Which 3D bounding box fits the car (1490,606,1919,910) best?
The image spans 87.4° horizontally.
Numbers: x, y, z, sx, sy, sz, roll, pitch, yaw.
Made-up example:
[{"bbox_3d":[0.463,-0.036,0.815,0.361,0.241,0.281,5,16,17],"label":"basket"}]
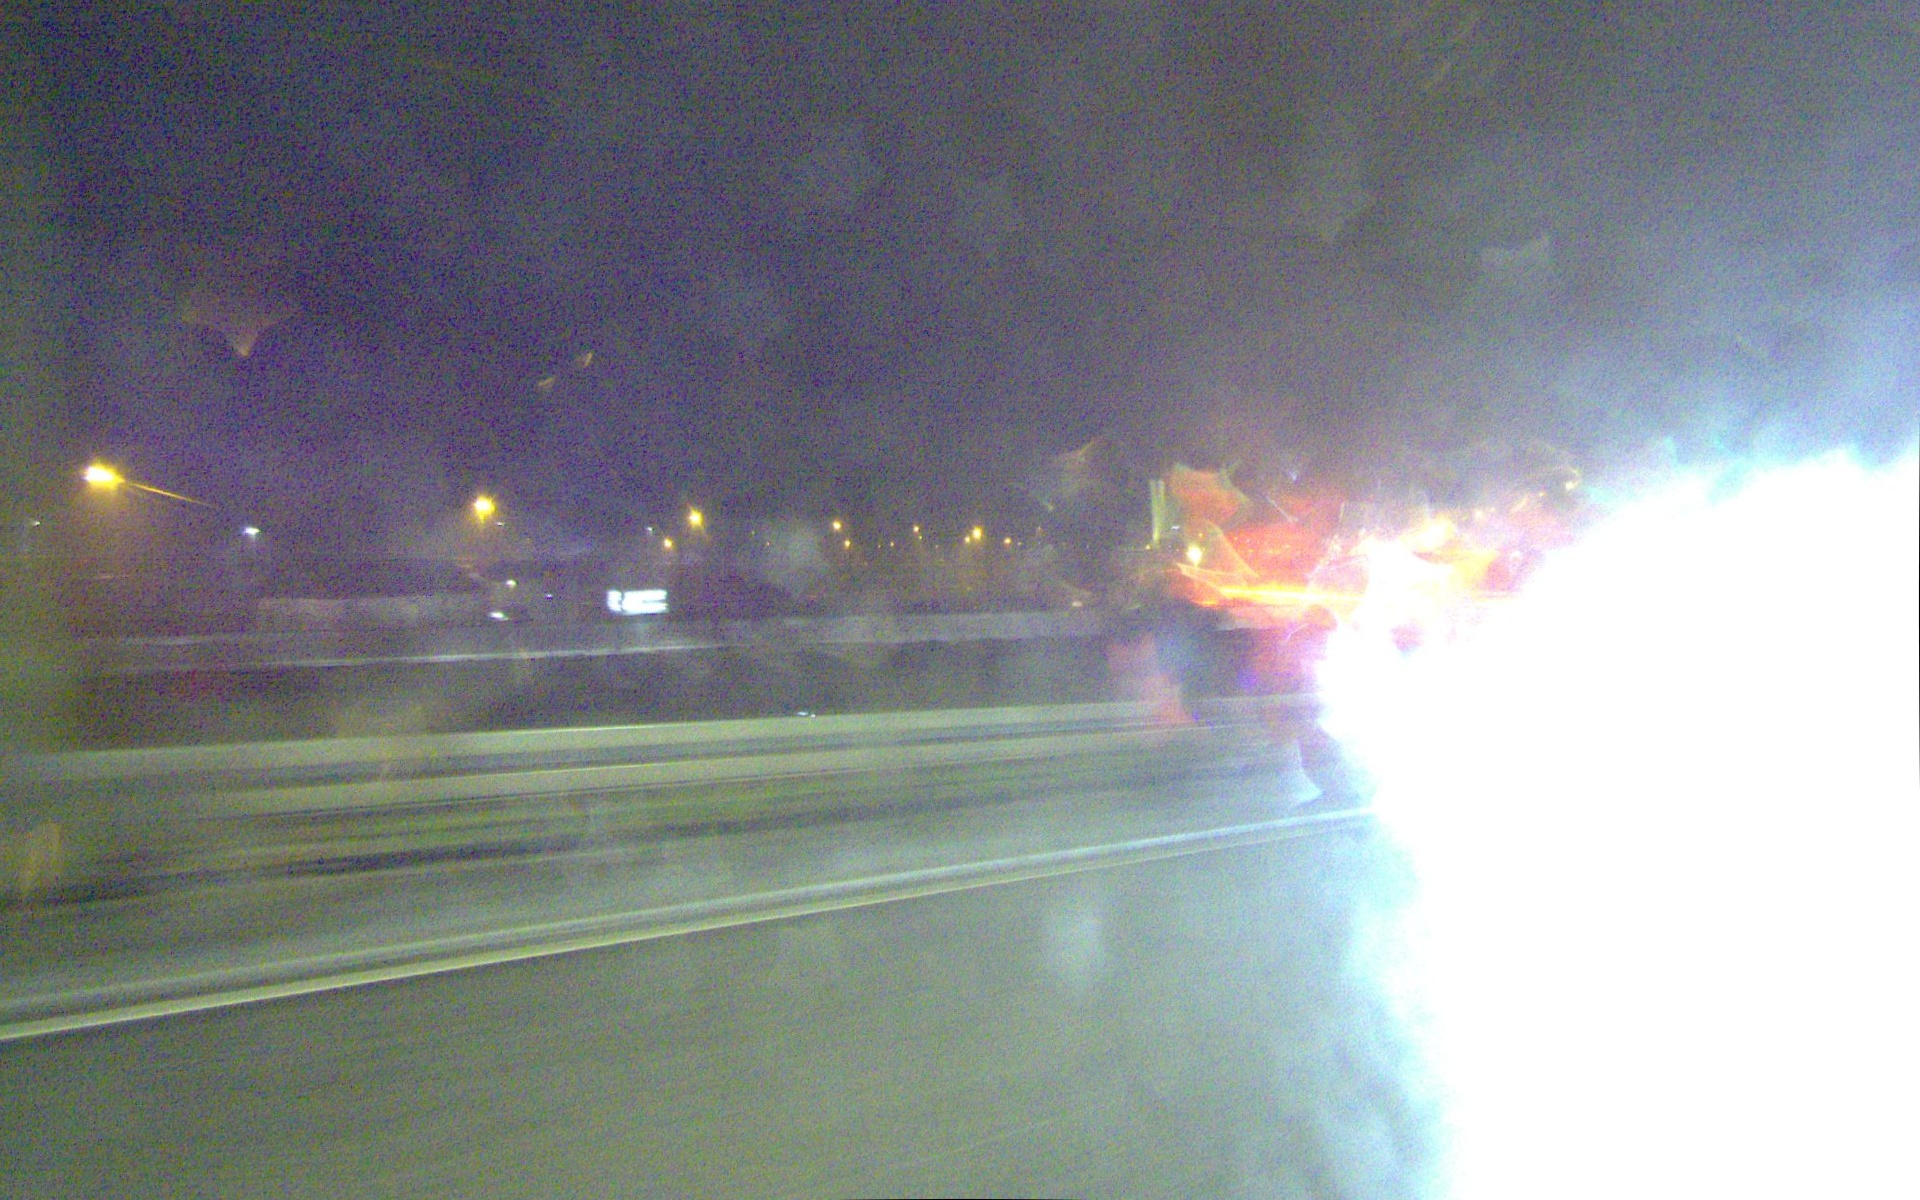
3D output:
[{"bbox_3d":[5.467,0.824,6.787,4.003,1.498,1.608,1,0,-33],"label":"car"}]
